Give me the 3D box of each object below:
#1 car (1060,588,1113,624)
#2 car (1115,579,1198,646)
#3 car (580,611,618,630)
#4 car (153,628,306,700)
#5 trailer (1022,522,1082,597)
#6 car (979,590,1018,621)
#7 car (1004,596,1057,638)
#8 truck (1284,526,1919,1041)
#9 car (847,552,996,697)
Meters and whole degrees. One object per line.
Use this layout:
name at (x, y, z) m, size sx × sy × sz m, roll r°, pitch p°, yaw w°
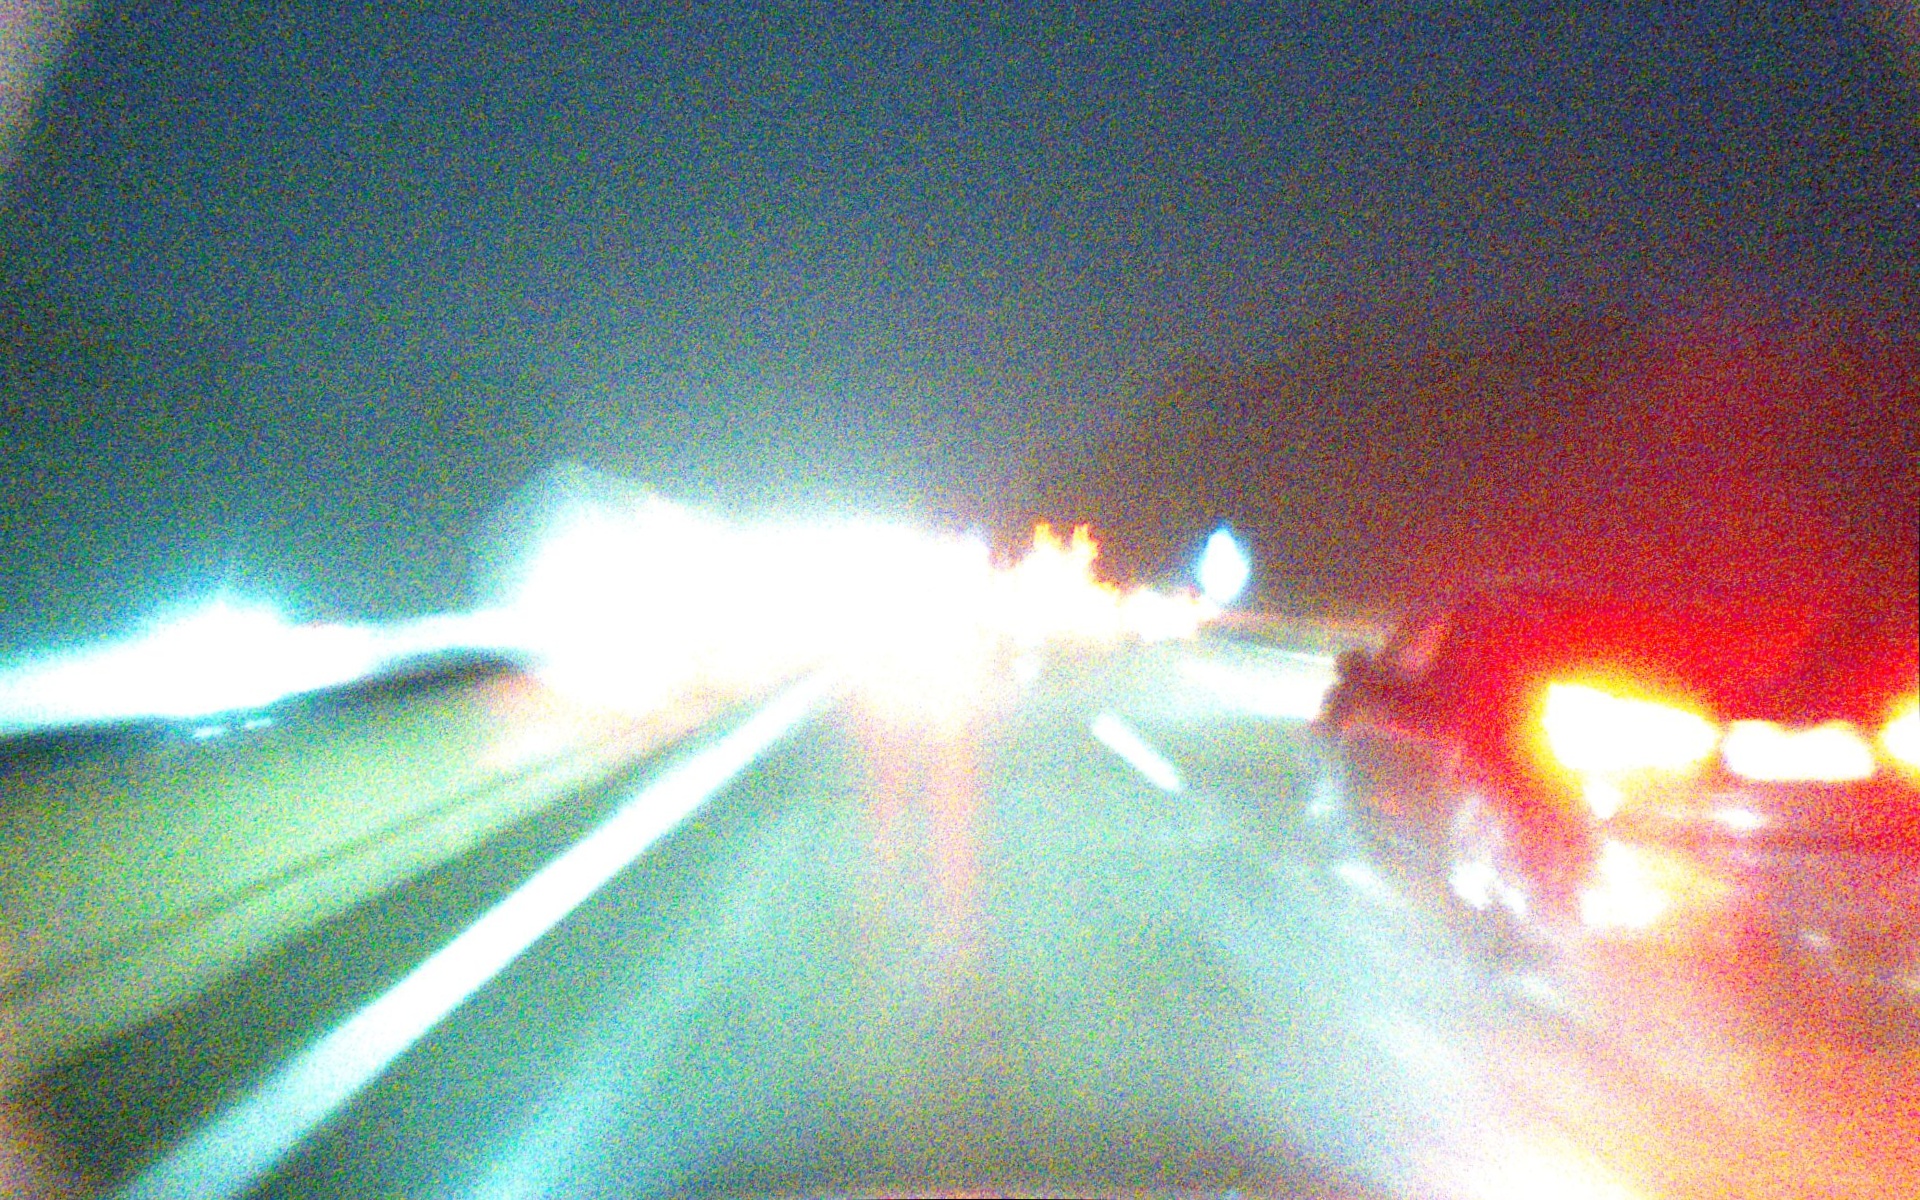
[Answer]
car at (5.803, 0.249, 76.489) m, size 1.856 × 1.512 × 4.960 m, roll 1°, pitch 1°, yaw -2°
car at (6.411, 0.348, 54.490) m, size 2.004 × 2.008 × 5.407 m, roll -2°, pitch 1°, yaw 0°
car at (-22.581, 1.267, 103.519) m, size 1.605 × 1.122 × 4.044 m, roll 1°, pitch 0°, yaw -2°
car at (-16.872, 1.439, 38.442) m, size 1.747 × 1.447 × 4.351 m, roll -2°, pitch 0°, yaw -3°
trailer at (5.516, -2.340, 101.168) m, size 2.747 × 4.286 × 12.093 m, roll 0°, pitch 0°, yaw -1°
car at (2.028, 0.269, 87.791) m, size 1.846 × 1.616 × 3.999 m, roll 1°, pitch 0°, yaw -1°
car at (2.510, 0.587, 59.477) m, size 1.580 × 1.437 × 3.790 m, roll 0°, pitch 0°, yaw -2°
truck at (2.989, 0.630, 8.031) m, size 1.806 × 1.726 × 4.853 m, roll 1°, pitch 0°, yaw -1°
car at (-0.839, 0.418, 33.460) m, size 2.656 × 2.578 × 5.828 m, roll -2°, pitch 1°, yaw -3°
